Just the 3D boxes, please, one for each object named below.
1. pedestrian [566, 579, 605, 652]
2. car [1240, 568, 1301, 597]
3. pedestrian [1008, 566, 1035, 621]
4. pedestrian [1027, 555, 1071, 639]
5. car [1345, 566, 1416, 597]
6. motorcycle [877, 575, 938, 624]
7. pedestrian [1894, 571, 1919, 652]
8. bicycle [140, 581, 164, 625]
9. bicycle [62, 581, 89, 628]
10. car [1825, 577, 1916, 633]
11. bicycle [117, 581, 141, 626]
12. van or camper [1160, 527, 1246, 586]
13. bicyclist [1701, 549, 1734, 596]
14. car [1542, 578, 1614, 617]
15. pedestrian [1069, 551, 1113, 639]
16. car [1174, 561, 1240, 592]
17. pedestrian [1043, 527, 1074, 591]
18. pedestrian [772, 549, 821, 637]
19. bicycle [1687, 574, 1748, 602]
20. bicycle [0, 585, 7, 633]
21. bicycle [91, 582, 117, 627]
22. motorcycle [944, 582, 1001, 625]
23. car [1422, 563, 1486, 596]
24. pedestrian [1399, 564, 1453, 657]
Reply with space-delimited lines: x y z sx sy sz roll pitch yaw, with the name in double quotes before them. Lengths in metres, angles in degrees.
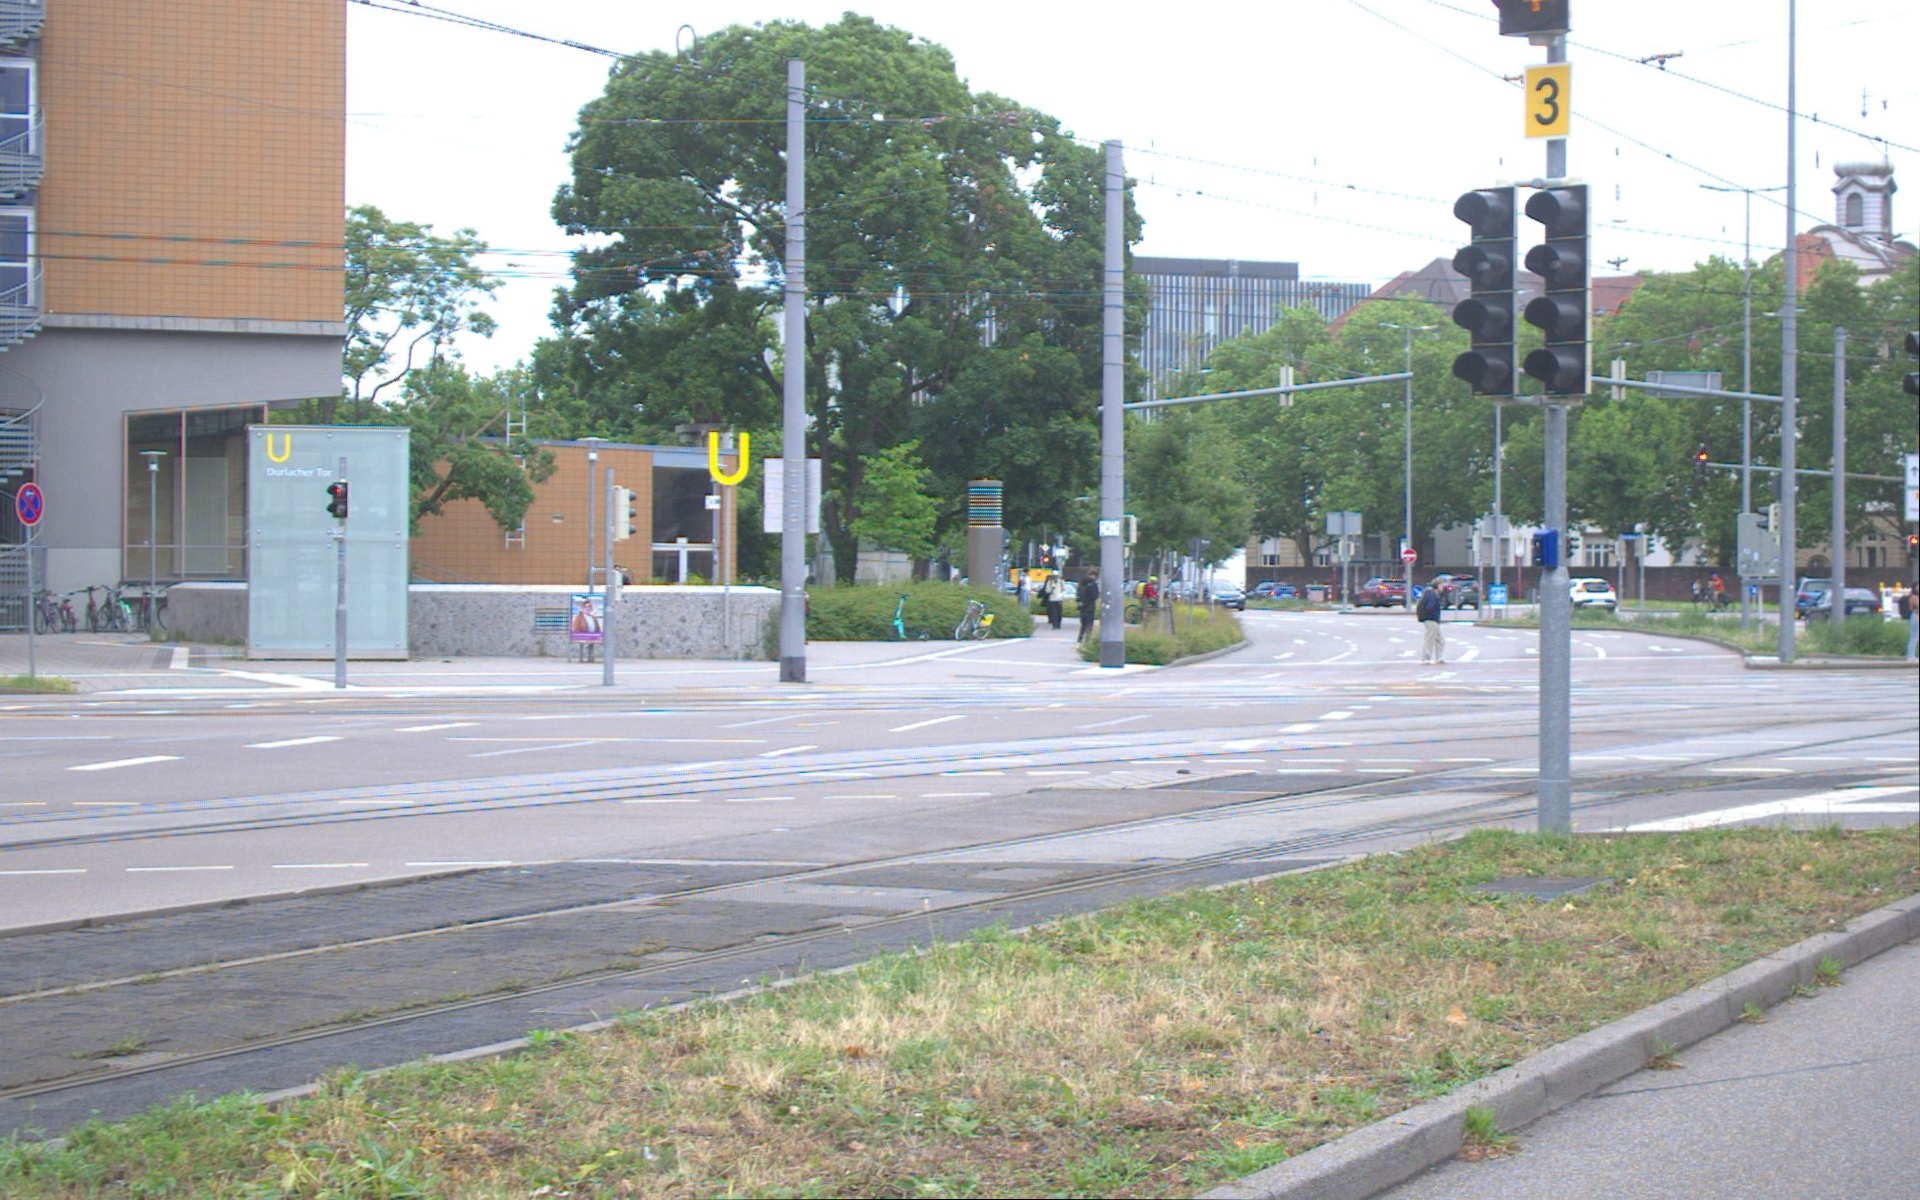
"pedestrian" -6.893 0.280 63.329 0.572 1.331 0.499 0 0 -25
"car" 16.621 -0.941 184.180 1.775 1.459 4.001 0 1 -18
"pedestrian" 2.228 -0.247 124.368 0.878 1.975 0.796 1 -1 8
"pedestrian" 2.073 -0.077 79.820 0.929 1.941 0.912 1 0 7
"car" 20.498 -0.914 167.789 1.775 1.459 4.001 0 1 -20
"motorcycle" -1.357 -0.013 88.274 1.467 1.263 0.512 0 1 -20
"pedestrian" 18.330 0.218 66.029 0.728 1.536 0.417 1 1 13
"bicycle" -19.471 0.068 82.824 0.480 1.045 1.428 0 1 -17
"bicycle" -21.166 0.094 82.244 0.570 1.102 1.428 0 1 -17
"car" 28.126 0.164 106.269 1.994 1.678 3.999 1 -1 4
"bicycle" -19.978 0.080 82.670 0.480 1.045 1.428 0 1 -17
"van or camper" 13.053 -2.347 184.998 2.387 3.113 5.505 0 1 -23
"bicyclist" 32.258 -1.168 146.439 0.975 2.007 0.940 0 1 -36
"car" 25.241 -0.112 140.572 1.775 1.459 4.001 1 1 -7
"pedestrian" 3.029 -0.103 79.362 0.928 2.007 1.011 1 -1 6
"car" 11.844 -1.116 165.128 1.775 1.459 4.001 0 1 -19
"pedestrian" 3.089 -1.294 107.785 0.793 1.975 0.881 1 -1 -9
"pedestrian" -3.784 -0.167 79.712 1.021 2.007 0.846 0 0 6
"bicycle" 32.283 -0.507 146.448 2.721 1.175 0.942 0 1 -36
"bicycle" -22.940 0.208 81.646 0.570 1.102 1.428 0 1 -17
"bicycle" -20.530 0.099 82.441 0.508 1.045 1.428 0 1 -17
"motorcycle" 0.334 0.091 89.593 0.511 1.107 1.740 1 1 39
"car" 22.938 -0.959 159.749 1.775 1.459 4.001 0 1 -10
"pedestrian" 9.707 0.208 71.568 1.027 1.927 0.701 0 1 0
